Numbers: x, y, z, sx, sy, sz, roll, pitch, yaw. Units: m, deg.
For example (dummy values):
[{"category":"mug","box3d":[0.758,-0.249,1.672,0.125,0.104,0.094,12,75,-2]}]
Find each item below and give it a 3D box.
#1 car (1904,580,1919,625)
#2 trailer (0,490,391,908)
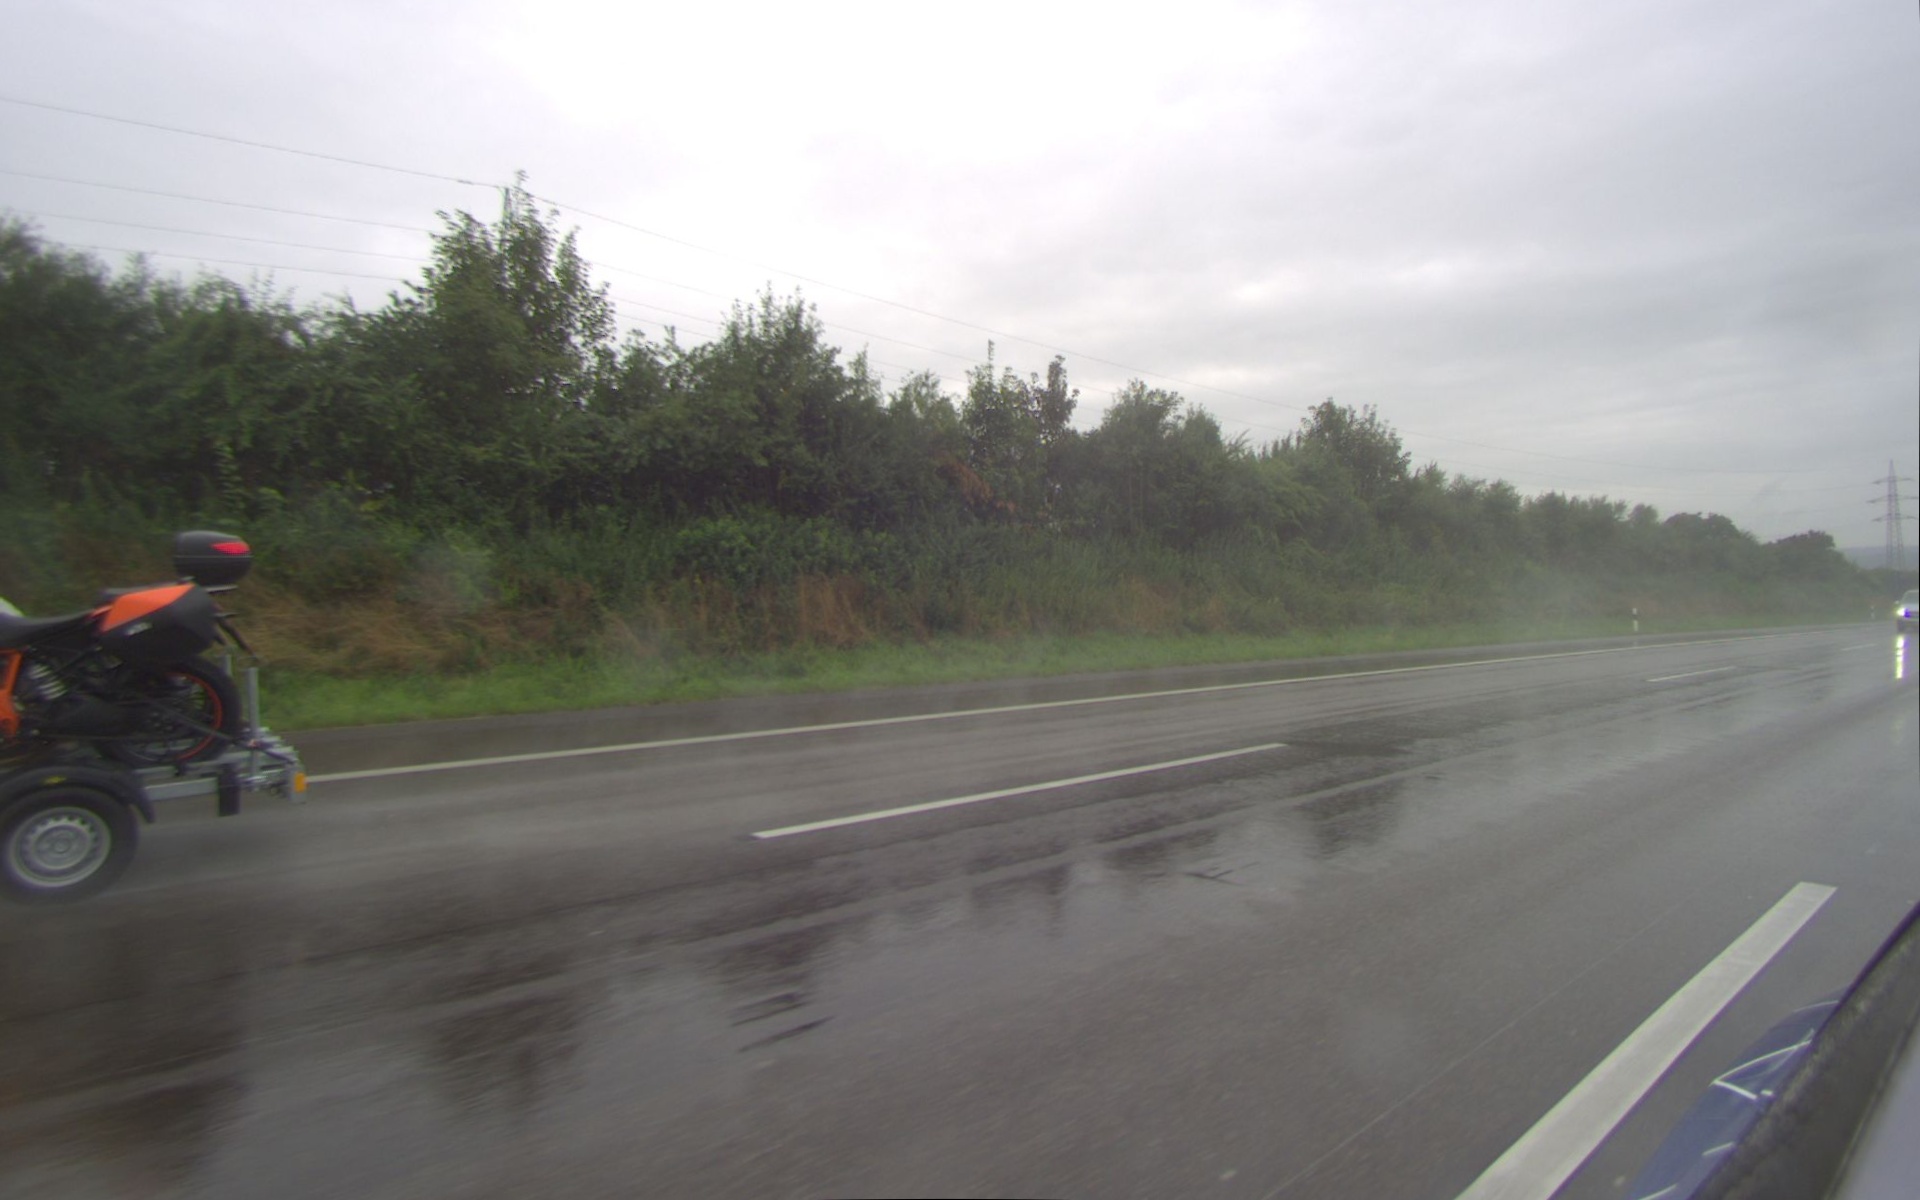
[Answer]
[{"category":"car","box3d":[44.711,0.120,46.014,3.926,2.039,1.998,0,-1,-38]},{"category":"trailer","box3d":[-4.835,0.421,5.101,3.132,1.807,1.983,-1,1,-40]}]
